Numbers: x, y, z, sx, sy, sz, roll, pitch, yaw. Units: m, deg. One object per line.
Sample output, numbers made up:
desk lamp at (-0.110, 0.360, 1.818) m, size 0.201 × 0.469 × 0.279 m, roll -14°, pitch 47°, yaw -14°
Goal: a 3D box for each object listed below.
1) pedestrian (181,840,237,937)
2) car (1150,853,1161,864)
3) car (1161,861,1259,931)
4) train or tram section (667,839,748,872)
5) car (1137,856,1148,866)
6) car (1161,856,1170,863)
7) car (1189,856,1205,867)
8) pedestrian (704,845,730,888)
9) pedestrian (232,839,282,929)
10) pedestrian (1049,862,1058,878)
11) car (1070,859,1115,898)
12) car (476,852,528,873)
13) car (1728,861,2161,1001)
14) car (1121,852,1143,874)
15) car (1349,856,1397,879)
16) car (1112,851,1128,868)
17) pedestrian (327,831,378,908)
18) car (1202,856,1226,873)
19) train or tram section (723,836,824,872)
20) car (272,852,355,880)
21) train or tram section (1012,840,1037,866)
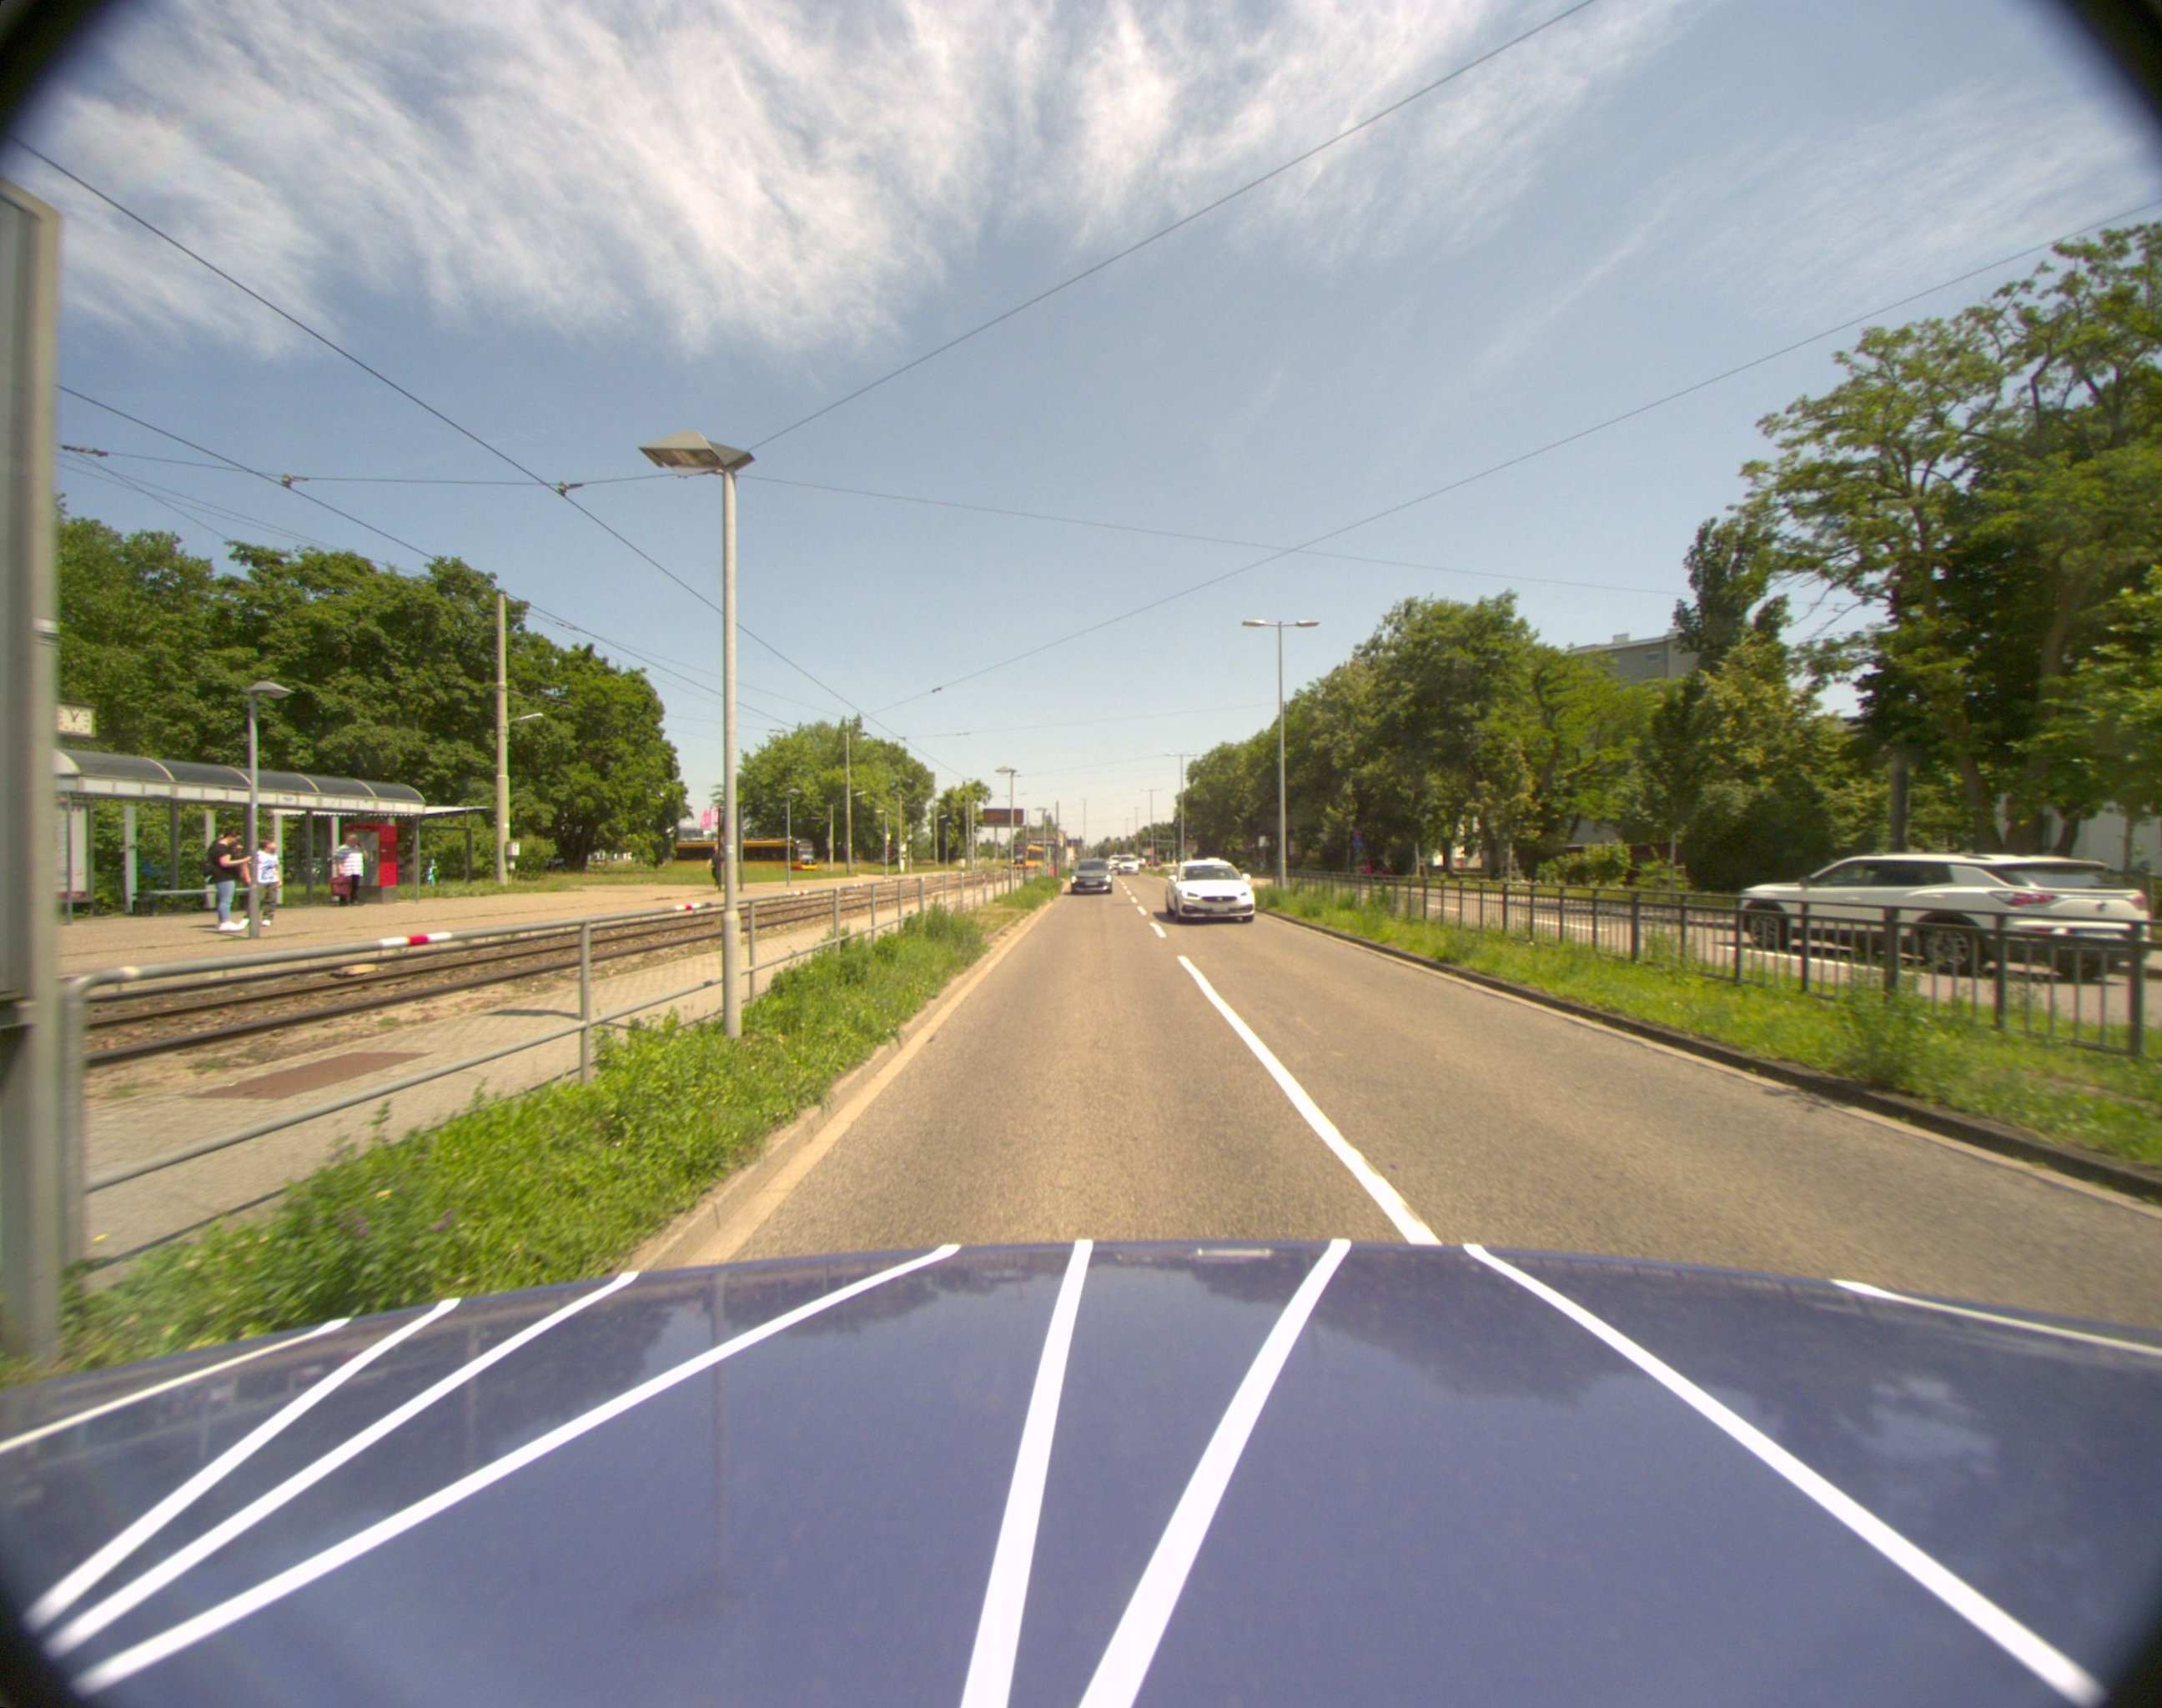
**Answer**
pedestrian at (-14.986, 0.575, 13.070) m, size 0.361 × 1.637 × 0.445 m, roll -1°, pitch 1°, yaw 4°
car at (14.478, 0.913, 148.282) m, size 1.998 × 2.002 × 4.001 m, roll 1°, pitch 0°, yaw 4°
car at (3.071, 0.951, 18.828) m, size 1.772 × 1.460 × 4.112 m, roll -1°, pitch 0°, yaw 1°
train or tram section at (-43.936, 0.204, 89.120) m, size 13.214 × 3.628 × 2.721 m, roll -1°, pitch 1°, yaw 37°
car at (11.009, 1.217, 136.508) m, size 1.815 × 1.631 × 4.000 m, roll -2°, pitch 1°, yaw 2°
car at (19.577, 1.220, 176.600) m, size 1.744 × 1.499 × 4.636 m, roll 1°, pitch 0°, yaw 3°
car at (17.229, 1.086, 113.429) m, size 1.772 × 1.545 × 4.083 m, roll 0°, pitch 0°, yaw 0°
pedestrian at (-15.087, 0.503, 31.494) m, size 0.707 × 1.754 × 0.658 m, roll 1°, pitch 1°, yaw 3°
pedestrian at (-14.838, 0.527, 13.683) m, size 0.361 × 1.587 × 0.483 m, roll 0°, pitch 0°, yaw 4°
pedestrian at (-1.752, 1.003, 48.294) m, size 0.576 × 1.034 × 0.579 m, roll 0°, pitch 0°, yaw 2°
car at (0.564, 1.011, 33.033) m, size 1.787 × 1.554 × 4.136 m, roll 0°, pitch 0°, yaw 3°
car at (-41.754, 0.606, 54.902) m, size 1.960 × 1.414 × 3.938 m, roll 0°, pitch 0°, yaw -20°
car at (12.268, 0.932, 11.130) m, size 1.825 × 1.563 × 4.346 m, roll 0°, pitch 1°, yaw -1°
car at (4.829, 0.811, 72.176) m, size 1.998 × 2.002 × 4.001 m, roll 0°, pitch 0°, yaw 3°
car at (21.291, 0.949, 55.563) m, size 1.998 × 1.575 × 4.000 m, roll 0°, pitch 0°, yaw 1°
car at (4.941, 0.691, 97.192) m, size 1.921 × 2.002 × 4.000 m, roll 0°, pitch 0°, yaw 1°
pedestrian at (-17.249, 0.354, 17.994) m, size 0.382 × 1.764 × 0.740 m, roll -1°, pitch 1°, yaw 4°
car at (14.420, 1.147, 82.584) m, size 1.864 × 1.748 × 4.480 m, roll 1°, pitch 0°, yaw 0°
train or tram section at (-33.292, 0.046, 81.930) m, size 13.149 × 3.628 × 2.720 m, roll -1°, pitch 1°, yaw 31°
car at (-46.566, 0.711, 46.204) m, size 1.855 × 1.652 × 3.994 m, roll 0°, pitch 0°, yaw -17°
train or tram section at (-7.459, -0.111, 101.008) m, size 2.524 × 3.303 × 7.261 m, roll 0°, pitch 0°, yaw 2°
